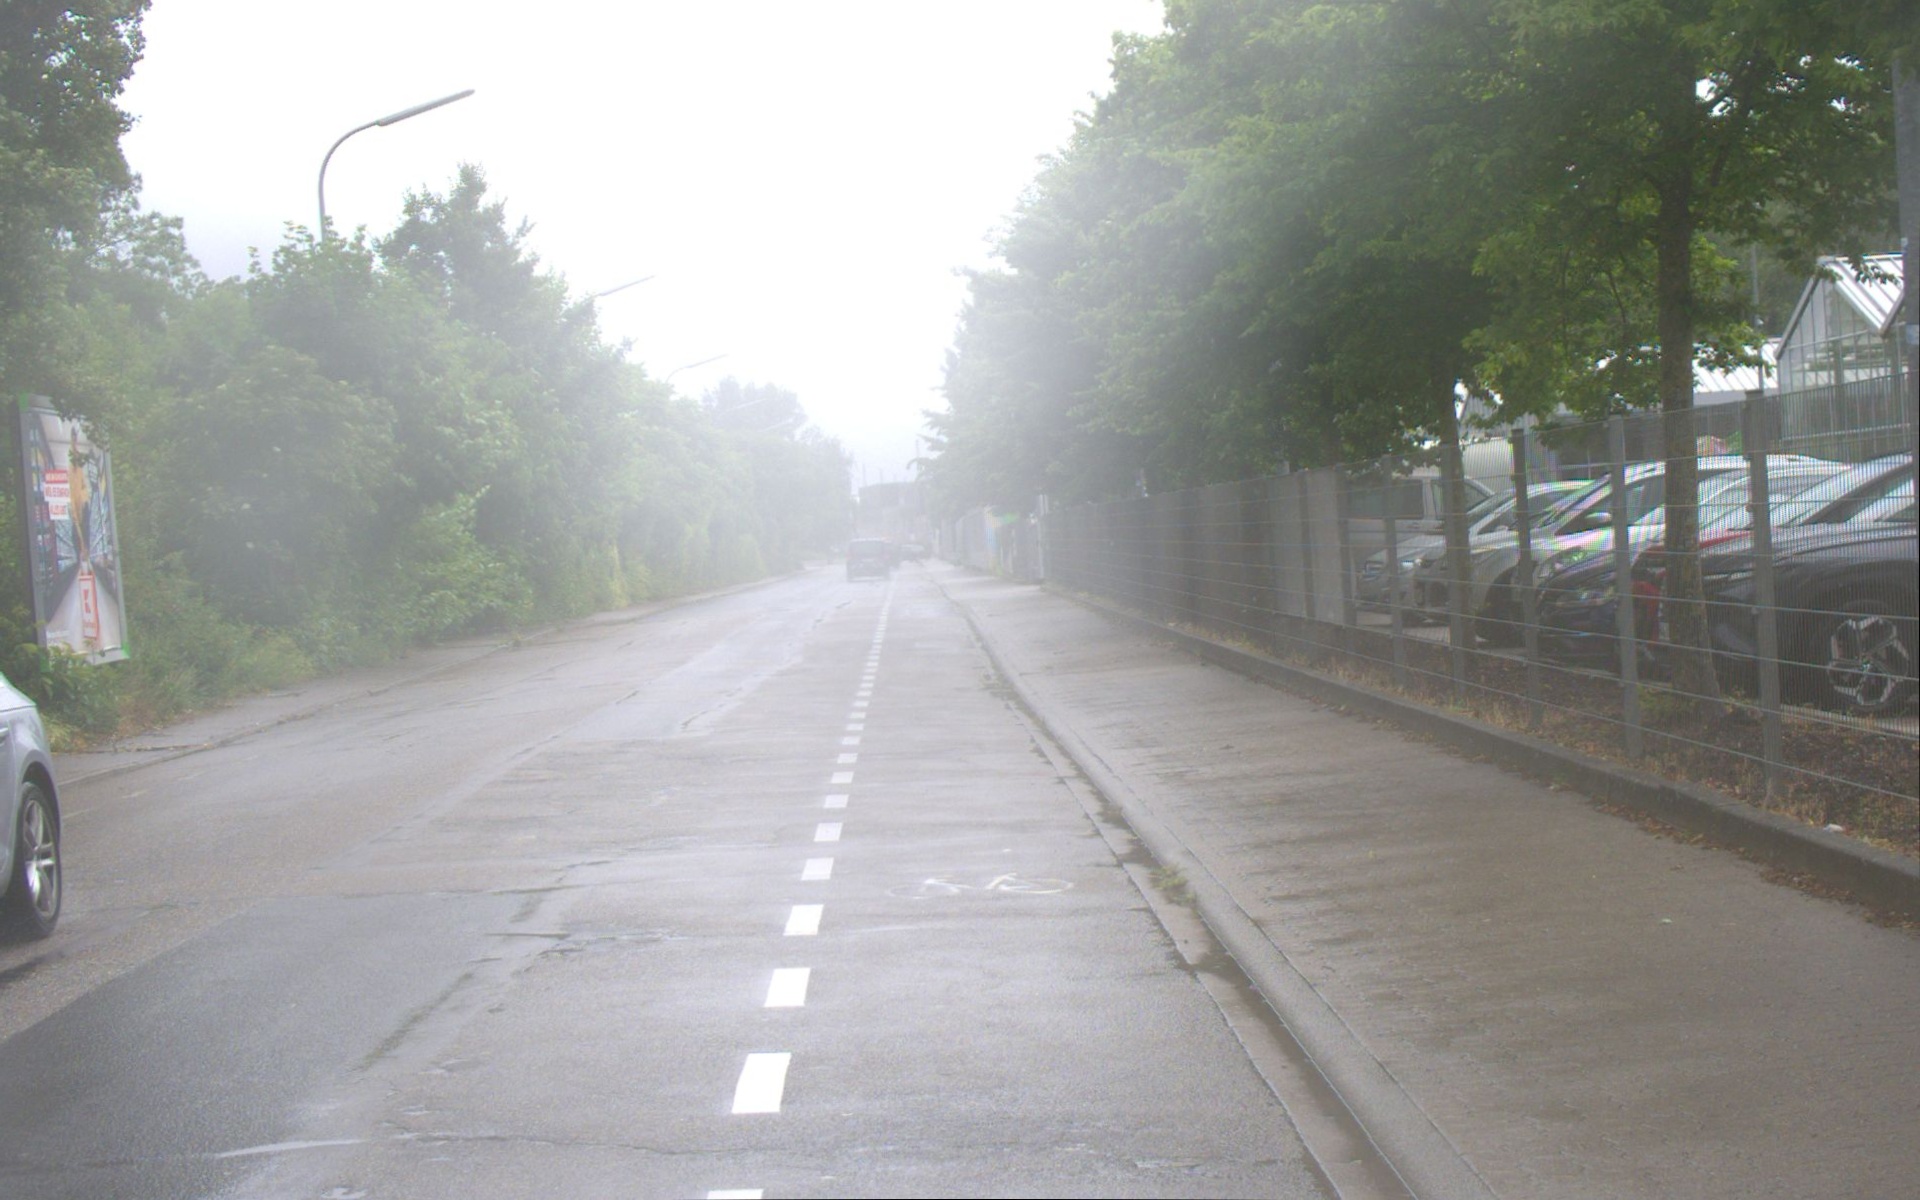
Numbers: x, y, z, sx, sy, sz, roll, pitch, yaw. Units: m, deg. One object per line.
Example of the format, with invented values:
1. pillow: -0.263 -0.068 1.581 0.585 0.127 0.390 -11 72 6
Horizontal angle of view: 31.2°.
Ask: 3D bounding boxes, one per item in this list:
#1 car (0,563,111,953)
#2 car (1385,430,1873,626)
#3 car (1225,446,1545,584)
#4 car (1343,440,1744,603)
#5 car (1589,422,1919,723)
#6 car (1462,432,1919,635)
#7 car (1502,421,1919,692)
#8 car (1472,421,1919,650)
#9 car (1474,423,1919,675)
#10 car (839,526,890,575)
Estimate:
1. car: -4.529 0.710 12.315 1.733 1.445 4.381 -6 1 0
2. car: 6.470 -0.707 33.468 4.207 1.583 1.824 -4 1 -8
3. car: 6.065 -1.225 49.377 4.208 1.671 1.824 -4 1 -3
4. car: 6.755 -0.921 40.068 4.208 1.583 1.824 -4 1 -3
5. car: 6.121 -0.275 20.528 4.207 1.613 1.824 -4 1 -8
6. car: 6.845 -0.621 30.816 4.207 1.528 1.824 -4 1 -8
7. car: 6.043 -0.371 23.400 4.207 1.613 1.824 -4 1 -8
8. car: 6.567 -0.574 28.339 4.207 1.613 1.824 -4 1 -8
9. car: 6.168 -0.438 25.541 4.207 1.613 1.824 -4 1 -8
10. car: -4.062 -2.076 145.791 1.993 1.904 4.201 -4 0 -1
